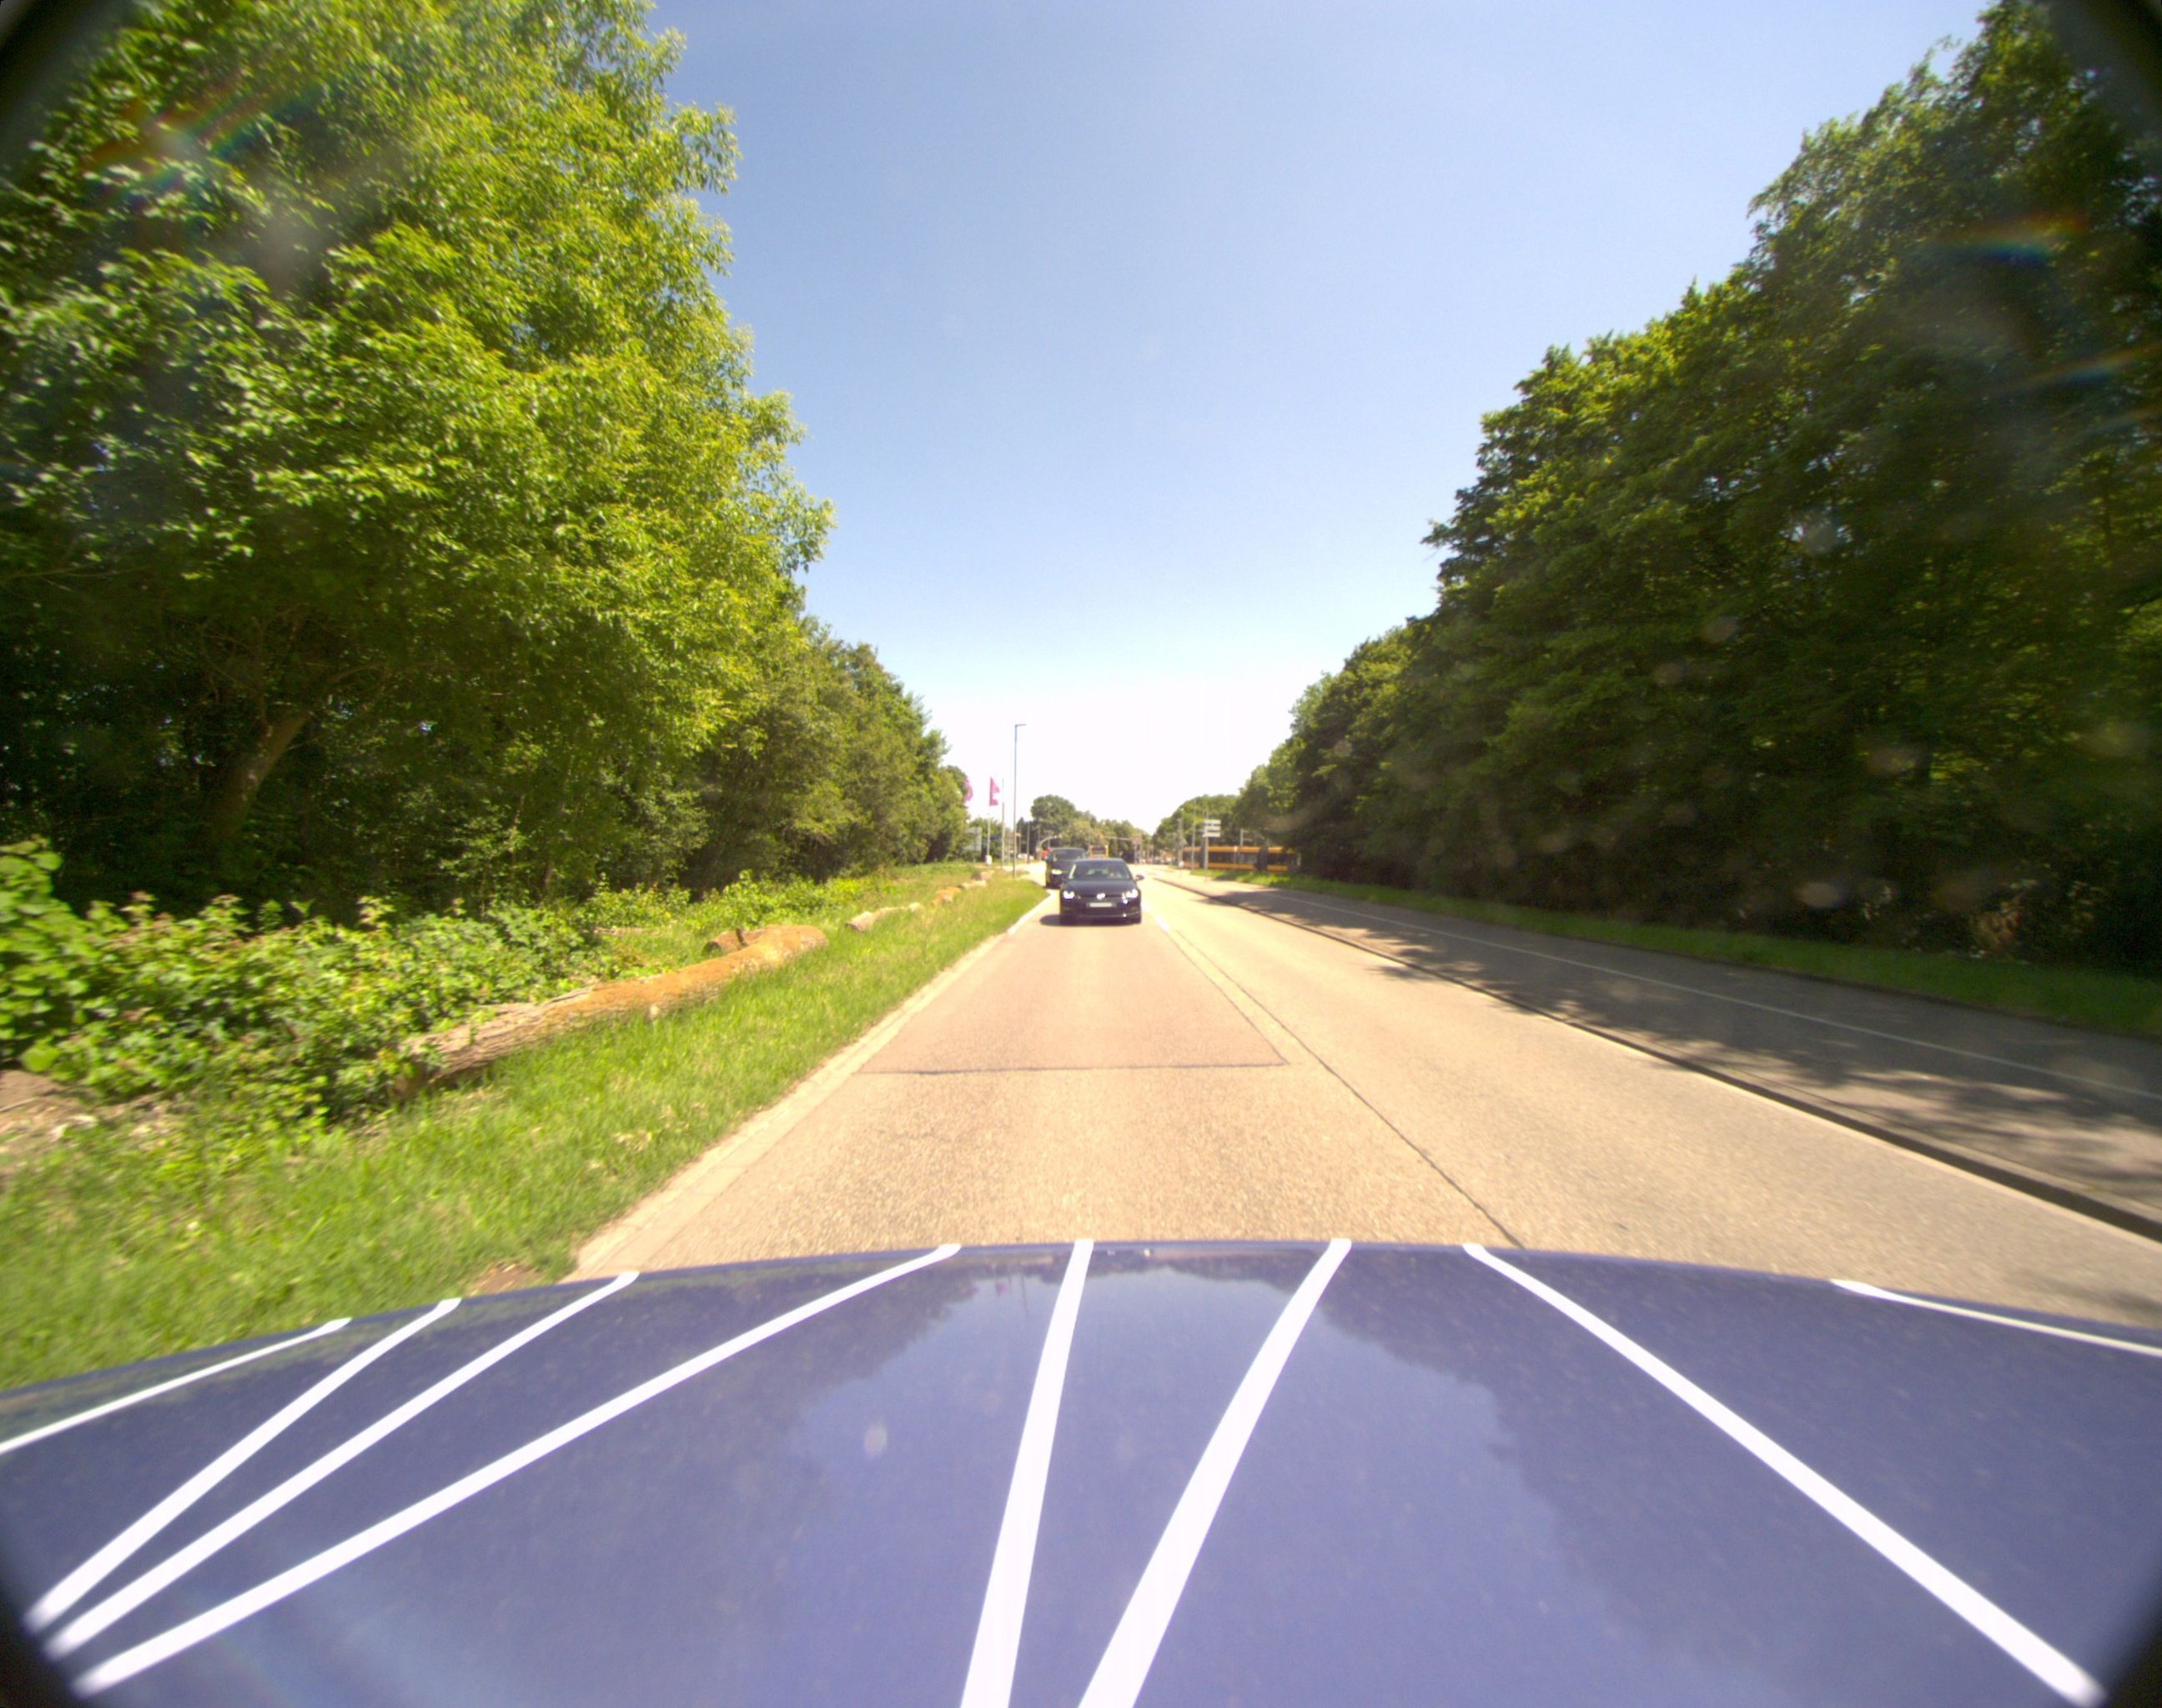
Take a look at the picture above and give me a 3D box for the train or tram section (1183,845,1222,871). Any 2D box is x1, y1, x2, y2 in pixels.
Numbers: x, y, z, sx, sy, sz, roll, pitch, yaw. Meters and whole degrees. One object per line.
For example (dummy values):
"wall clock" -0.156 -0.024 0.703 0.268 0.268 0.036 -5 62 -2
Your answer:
"train or tram section" 17.186 0.517 108.699 2.579 3.445 10.847 1 0 -7

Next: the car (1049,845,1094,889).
"car" -0.504 0.586 36.296 2.002 1.965 4.449 1 0 -2

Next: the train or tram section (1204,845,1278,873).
"train or tram section" 20.593 0.554 98.920 2.656 3.446 10.826 1 0 -31

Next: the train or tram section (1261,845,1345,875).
"train or tram section" 26.870 0.631 92.320 9.325 3.446 2.789 1 0 33

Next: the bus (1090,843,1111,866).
"bus" 2.855 0.073 111.325 2.931 3.248 8.330 1 0 1

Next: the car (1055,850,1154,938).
"car" 0.451 0.775 16.958 1.887 1.667 4.662 -1 0 0

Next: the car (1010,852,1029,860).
"car" -16.005 0.532 199.151 4.705 1.770 2.004 1 0 33
